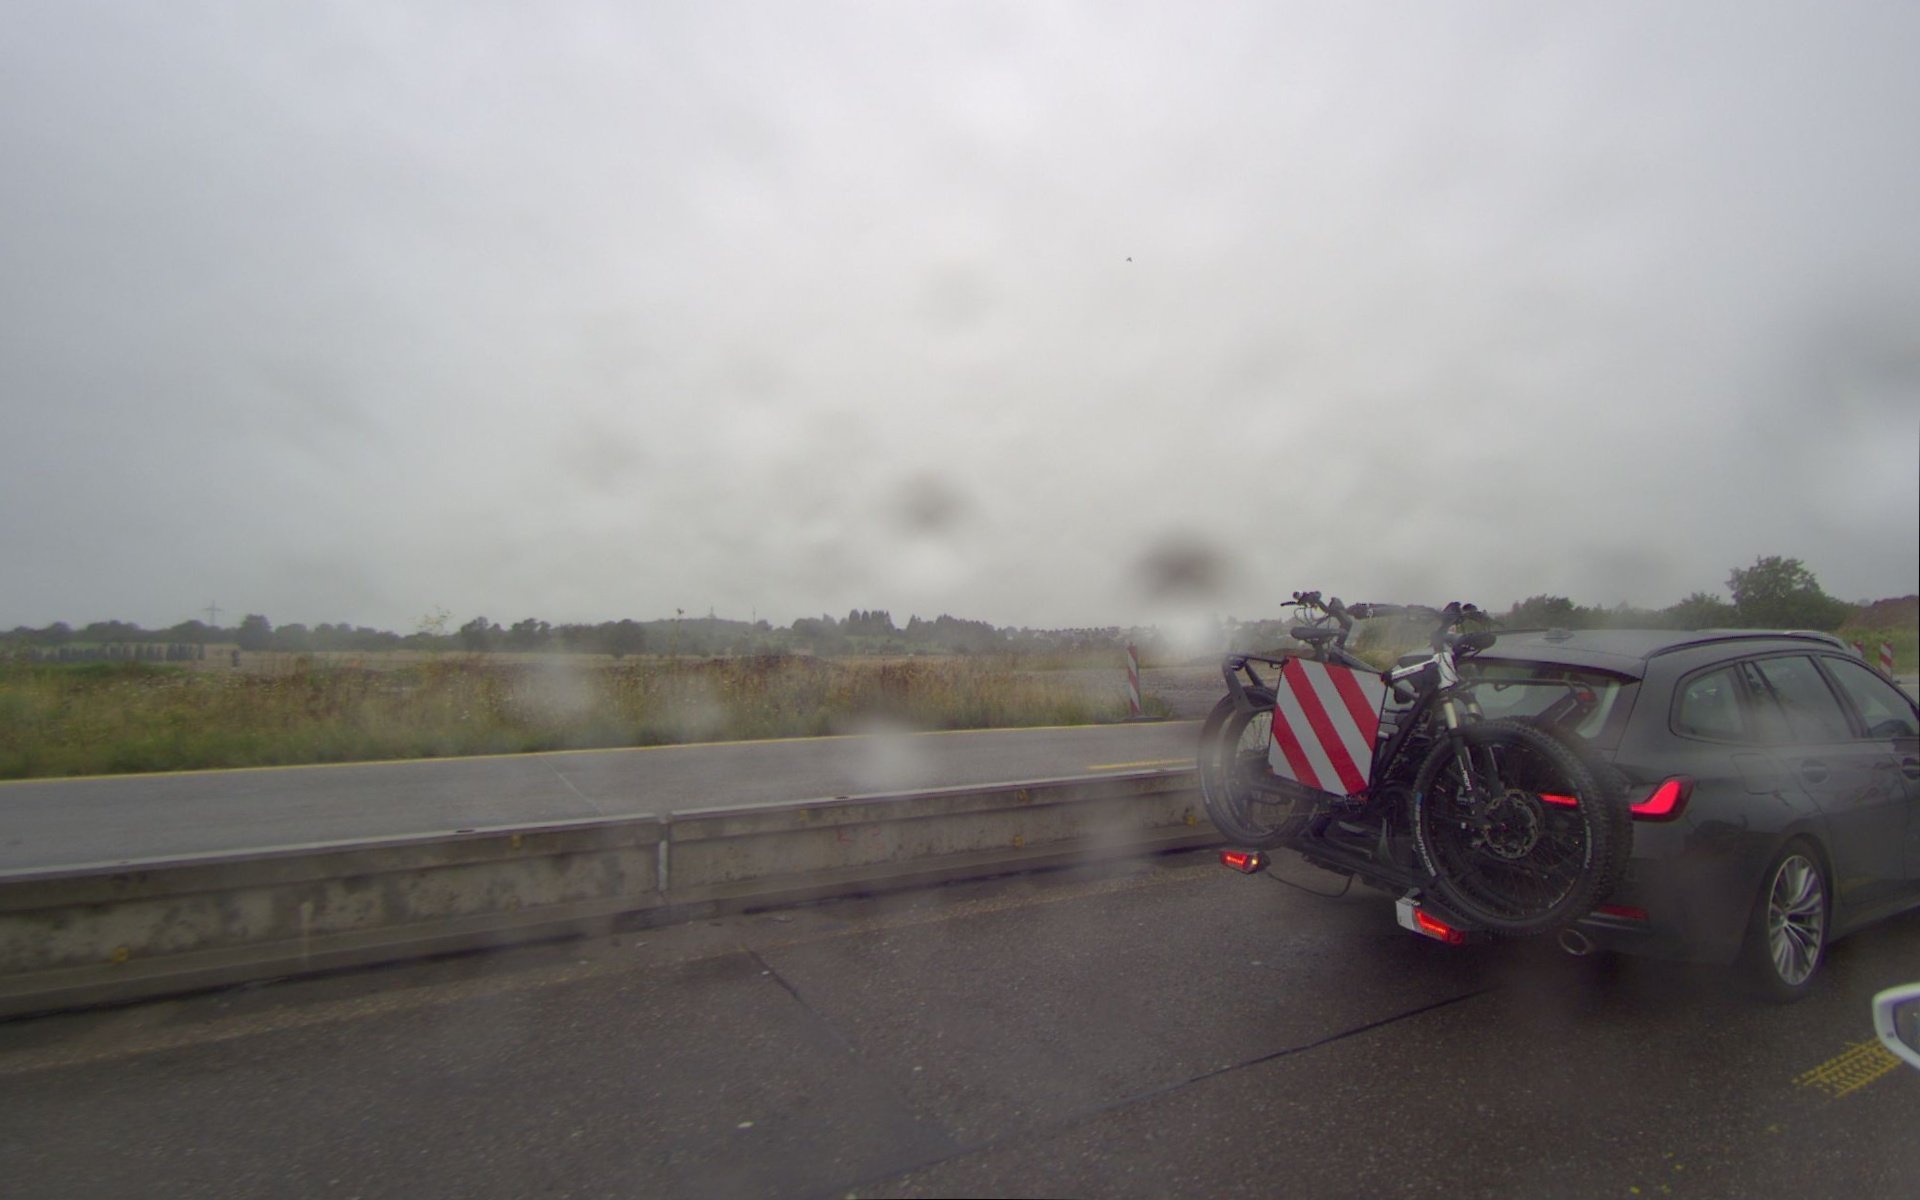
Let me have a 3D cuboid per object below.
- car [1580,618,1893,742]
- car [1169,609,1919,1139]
[{"bbox_3d":[10.852,1.039,13.967,4.642,1.462,1.817,2,-1,-30],"label":"car"},{"bbox_3d":[3.742,0.827,5.144,5.564,1.482,1.726,-1,0,-31],"label":"car"}]
